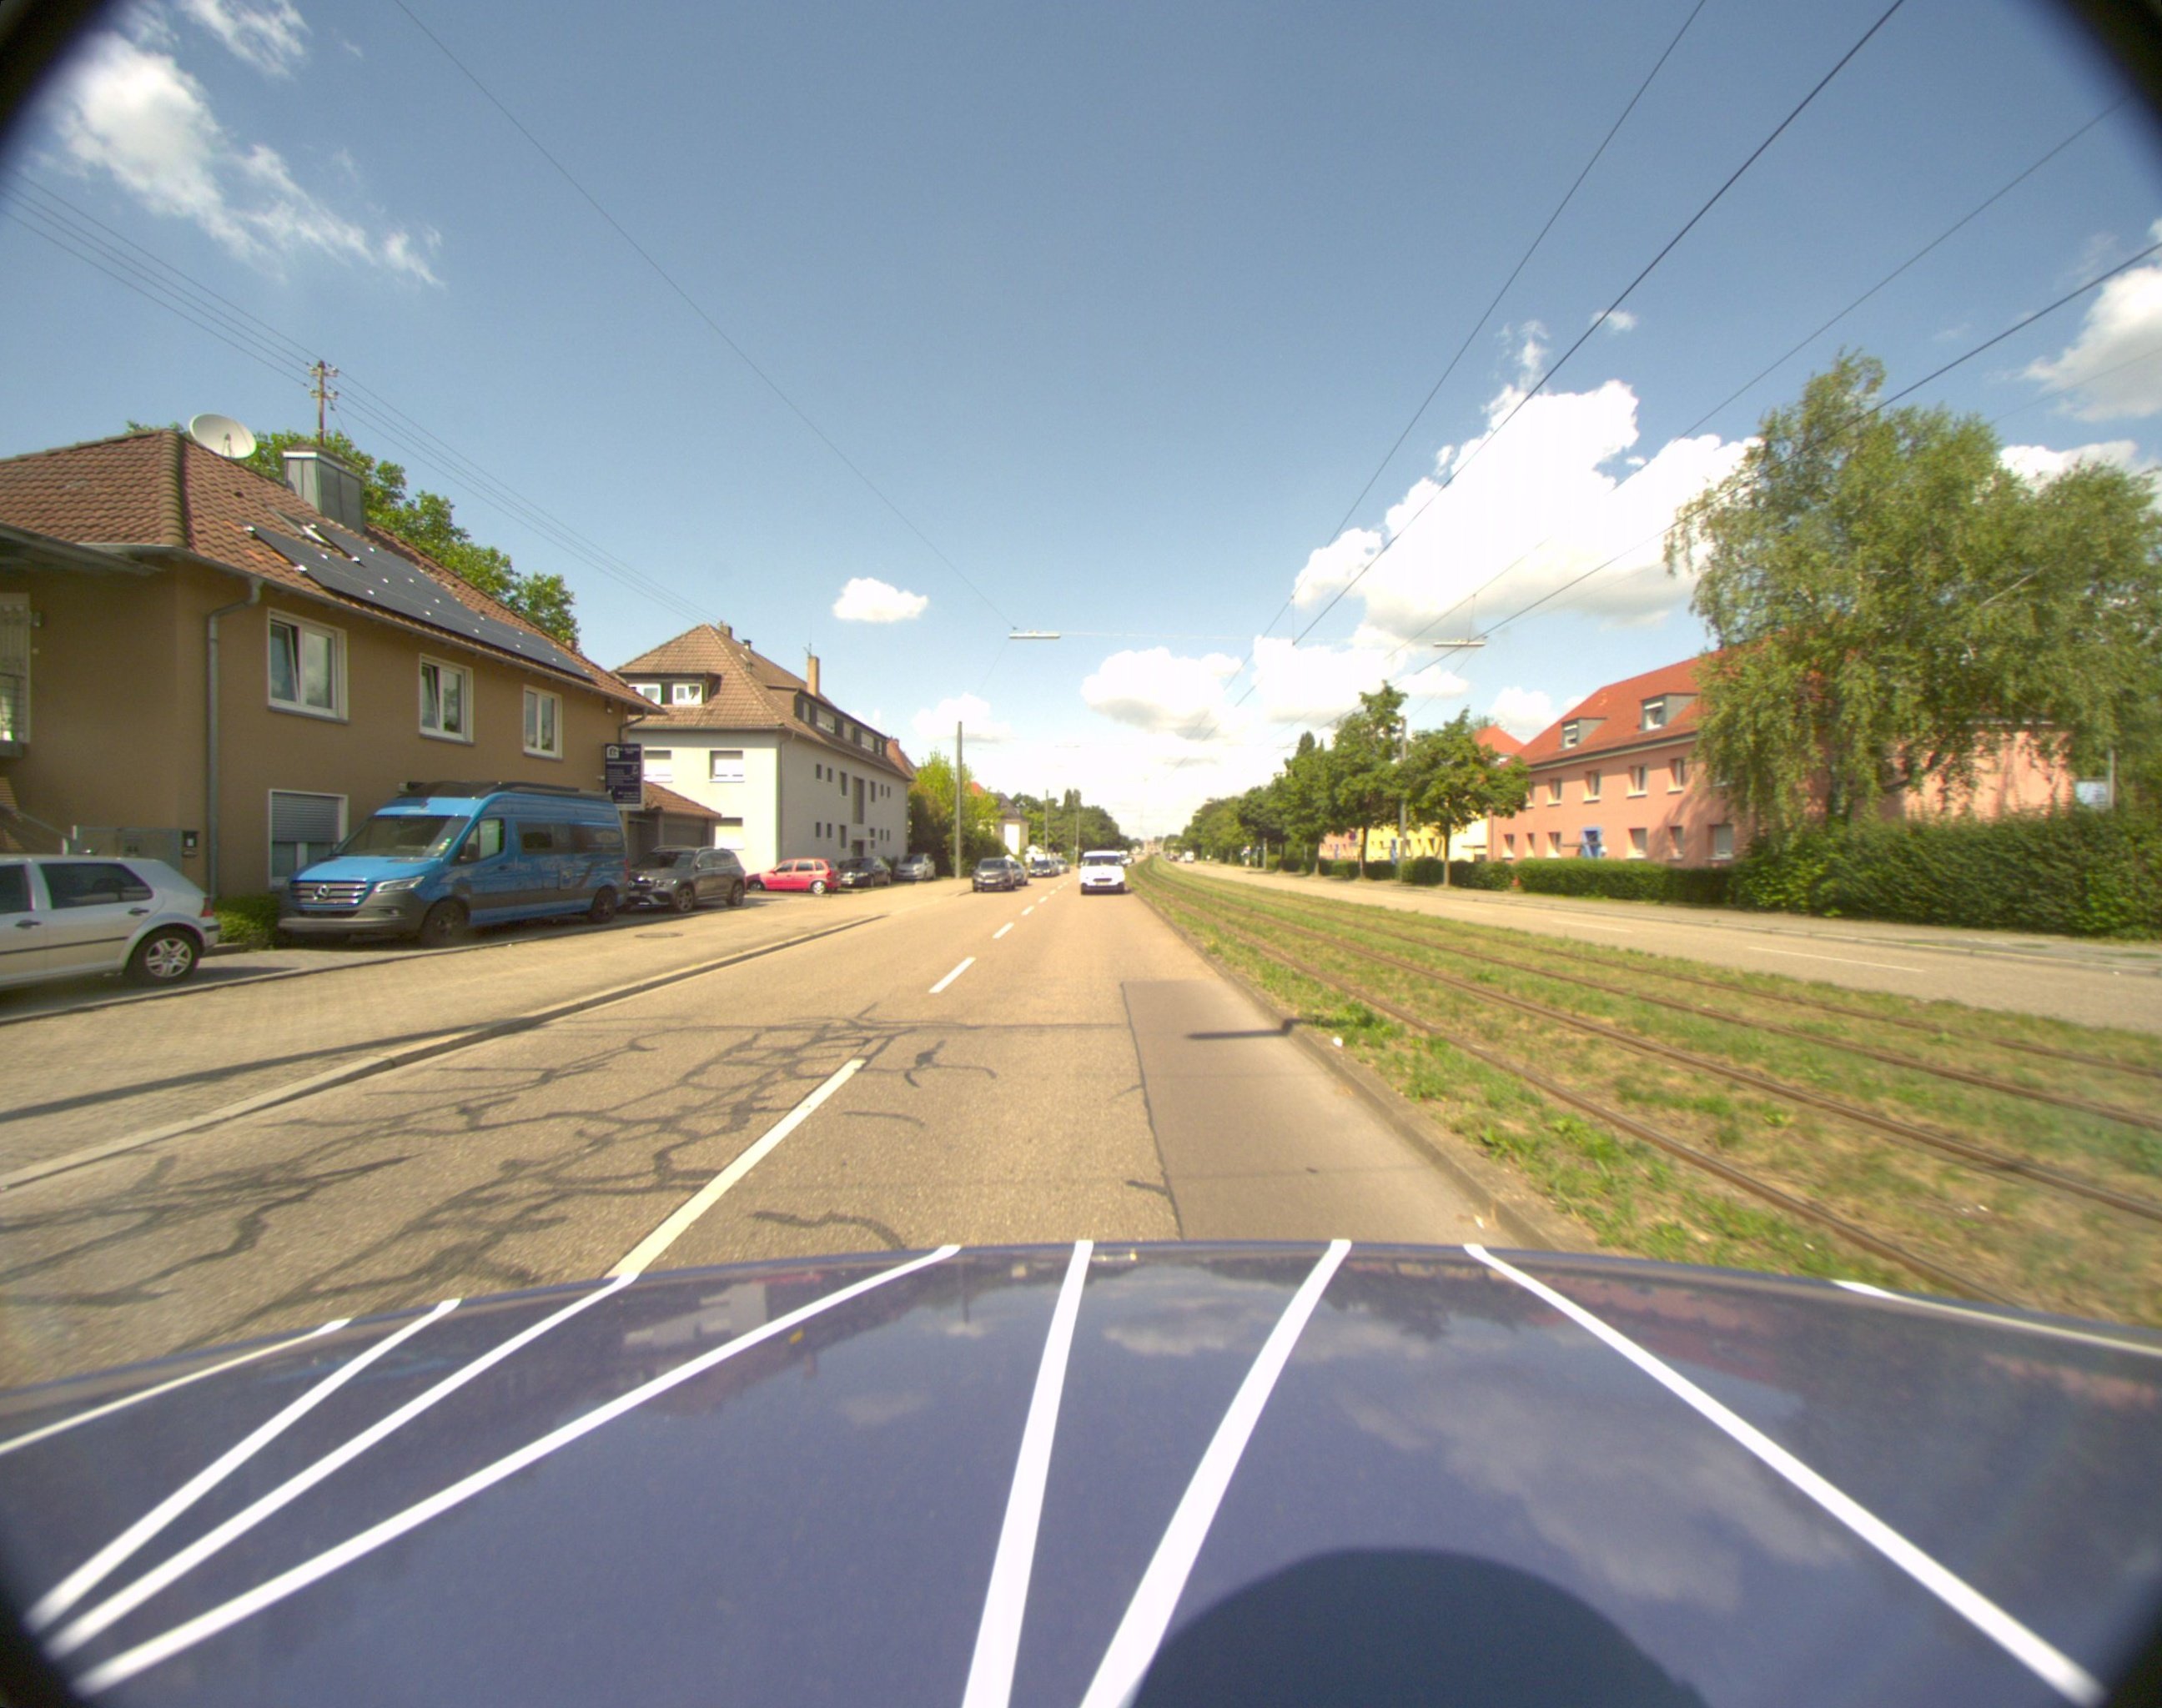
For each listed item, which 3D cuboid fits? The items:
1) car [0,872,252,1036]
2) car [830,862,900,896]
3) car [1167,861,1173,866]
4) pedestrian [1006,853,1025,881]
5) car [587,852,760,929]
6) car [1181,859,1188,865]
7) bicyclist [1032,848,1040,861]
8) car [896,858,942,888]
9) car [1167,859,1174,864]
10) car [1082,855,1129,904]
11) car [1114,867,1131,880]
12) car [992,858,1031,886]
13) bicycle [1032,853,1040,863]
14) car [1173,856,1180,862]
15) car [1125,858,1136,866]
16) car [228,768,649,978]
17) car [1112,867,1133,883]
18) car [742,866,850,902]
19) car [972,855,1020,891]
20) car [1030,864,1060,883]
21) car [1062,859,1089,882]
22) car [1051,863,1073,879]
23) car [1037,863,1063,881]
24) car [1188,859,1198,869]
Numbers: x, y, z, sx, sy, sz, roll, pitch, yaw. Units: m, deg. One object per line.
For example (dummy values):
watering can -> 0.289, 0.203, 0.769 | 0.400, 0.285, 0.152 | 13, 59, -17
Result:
car -> -10.633, 0.934, 6.872 | 1.653, 1.401, 4.349 | 1, 0, -3
car -> -10.153, 1.127, 36.054 | 1.803, 1.415, 4.858 | 1, 0, 1
car -> 26.690, 2.797, 226.720 | 1.731, 1.386, 4.279 | 1, 0, 6
pedestrian -> -4.491, 0.899, 52.311 | 1.114, 1.934, 1.092 | 0, 1, 4
car -> -10.467, 0.867, 20.018 | 1.841, 1.701, 4.864 | 2, -1, 1
car -> 29.515, 2.262, 216.752 | 1.689, 1.422, 4.278 | 1, 0, 5
bicyclist -> -4.894, 0.056, 83.063 | 0.689, 1.345, 0.666 | 1, 0, 11
car -> -9.756, 1.120, 46.013 | 1.761, 1.637, 4.768 | 1, 0, -1
car -> 30.142, 2.388, 255.885 | 2.120, 1.641, 4.279 | 1, 0, 6
car -> 0.939, 0.973, 31.159 | 1.777, 1.850, 4.375 | -1, 0, 0
car -> 5.443, 2.474, 98.793 | 1.998, 1.576, 4.001 | -1, 0, 5
car -> -3.858, 0.973, 42.963 | 1.819, 1.445, 4.643 | -1, 0, -1
bicycle -> -4.915, 0.478, 83.137 | 0.555, 1.059, 1.525 | 1, 0, 11
car -> 26.214, 1.430, 207.700 | 1.689, 1.736, 4.229 | 1, 0, 5
car -> 9.931, 1.563, 152.707 | 1.998, 1.477, 4.001 | -1, 0, 3
car -> -10.785, 0.260, 13.771 | 2.157, 2.913, 6.244 | -1, 0, 1
car -> 4.175, 2.095, 76.738 | 1.998, 1.477, 4.001 | -1, 0, 3
car -> -11.313, 1.166, 30.296 | 3.658, 1.372, 1.726 | 0, 1, -1
car -> -3.976, 0.860, 36.241 | 1.812, 1.550, 4.253 | -1, 0, 0
car -> -2.912, 1.557, 61.718 | 1.904, 1.435, 5.059 | -1, -1, 3
car -> -0.401, 1.117, 53.897 | 1.778, 1.540, 4.000 | -1, 0, -1
car -> -1.891, 1.661, 76.461 | 1.740, 1.481, 4.096 | -1, 0, 5
car -> -2.678, 1.592, 67.152 | 1.894, 1.447, 5.007 | -1, 0, 2
car -> 26.800, 2.398, 182.299 | 2.036, 2.422, 5.780 | 2, 0, 5
